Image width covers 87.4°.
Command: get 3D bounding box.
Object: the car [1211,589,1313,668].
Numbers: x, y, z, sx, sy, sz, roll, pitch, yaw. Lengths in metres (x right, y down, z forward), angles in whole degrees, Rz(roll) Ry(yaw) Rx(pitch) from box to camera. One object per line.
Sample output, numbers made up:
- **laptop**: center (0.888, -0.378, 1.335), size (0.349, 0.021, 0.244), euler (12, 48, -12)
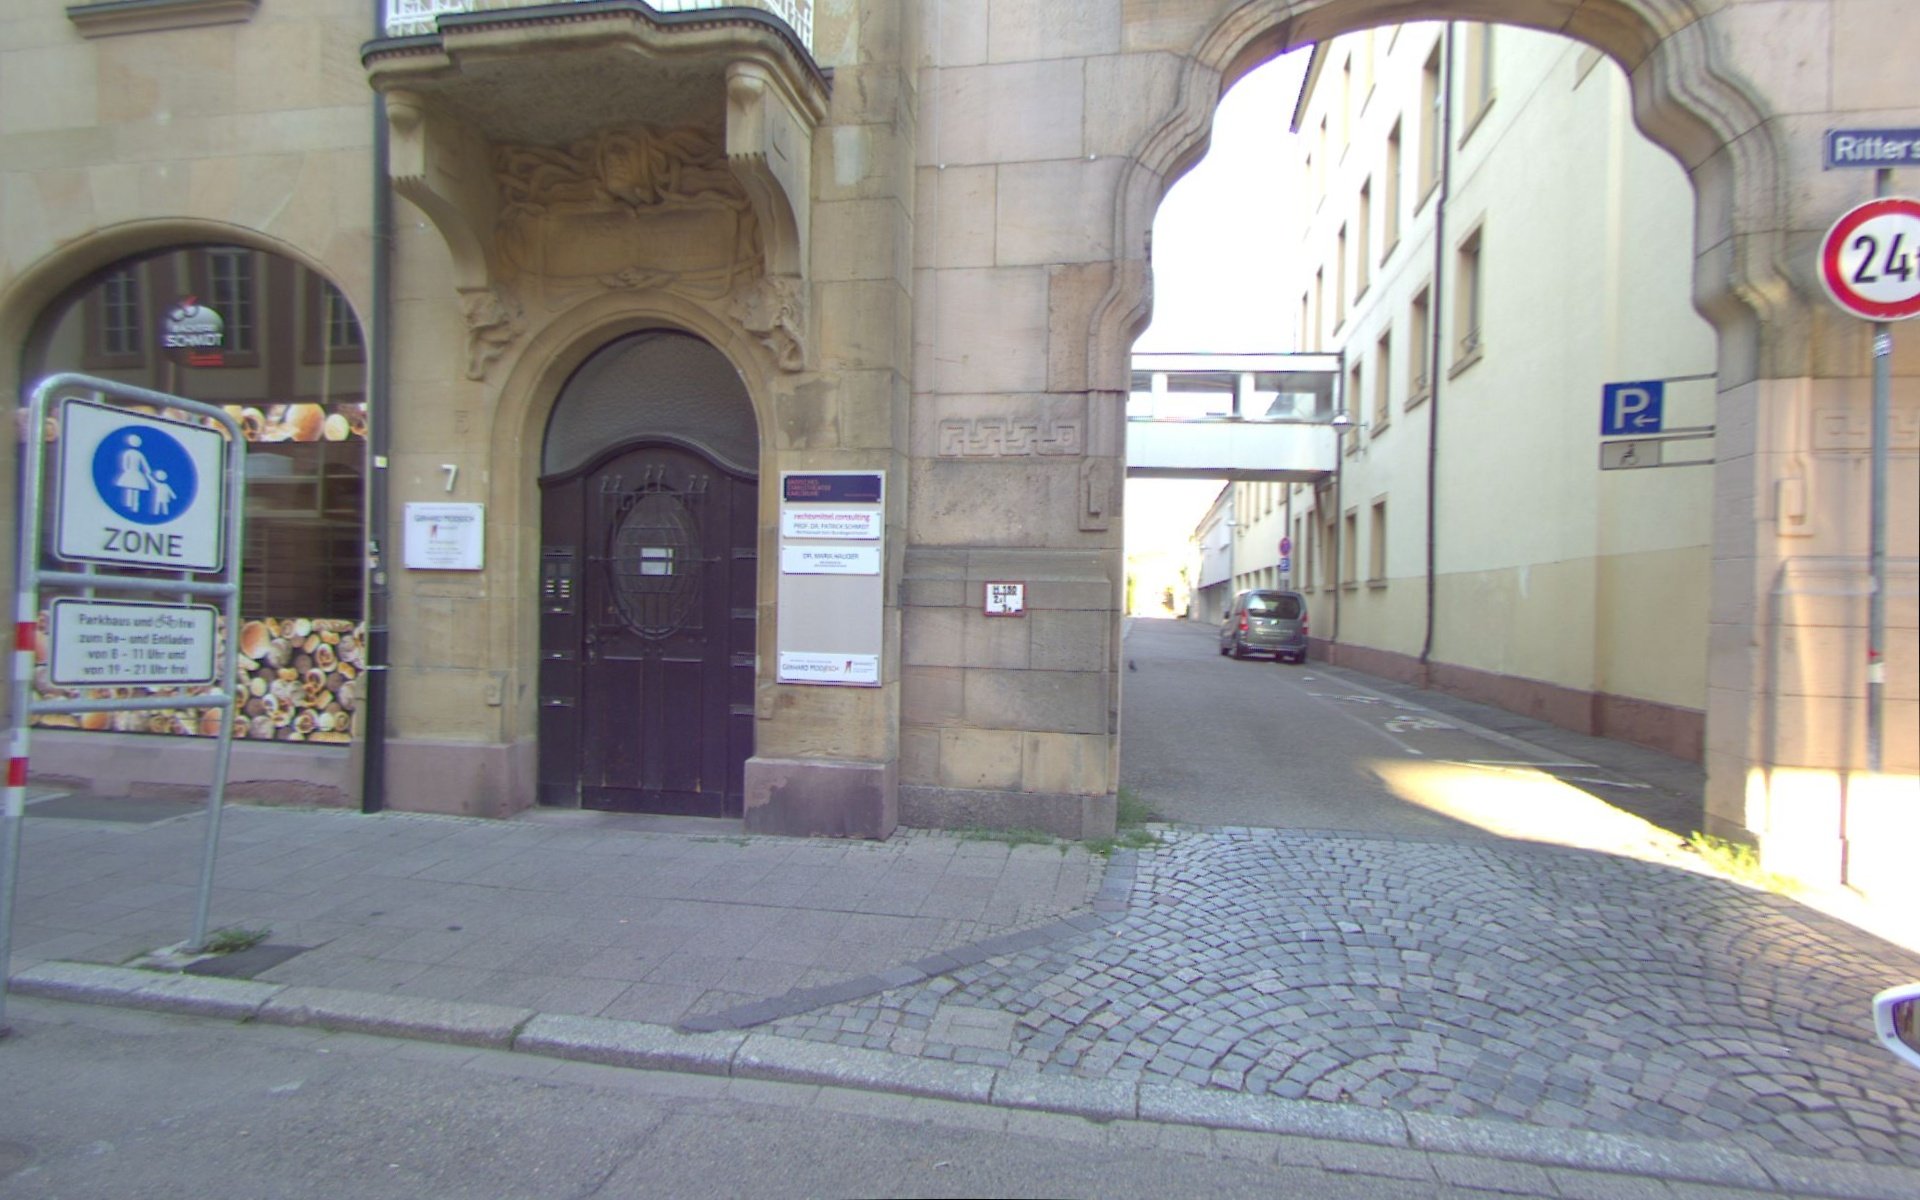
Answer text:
- **car**: center (7.888, 0.684, 26.580), size (1.824, 1.779, 4.164), euler (4, 1, 8)
